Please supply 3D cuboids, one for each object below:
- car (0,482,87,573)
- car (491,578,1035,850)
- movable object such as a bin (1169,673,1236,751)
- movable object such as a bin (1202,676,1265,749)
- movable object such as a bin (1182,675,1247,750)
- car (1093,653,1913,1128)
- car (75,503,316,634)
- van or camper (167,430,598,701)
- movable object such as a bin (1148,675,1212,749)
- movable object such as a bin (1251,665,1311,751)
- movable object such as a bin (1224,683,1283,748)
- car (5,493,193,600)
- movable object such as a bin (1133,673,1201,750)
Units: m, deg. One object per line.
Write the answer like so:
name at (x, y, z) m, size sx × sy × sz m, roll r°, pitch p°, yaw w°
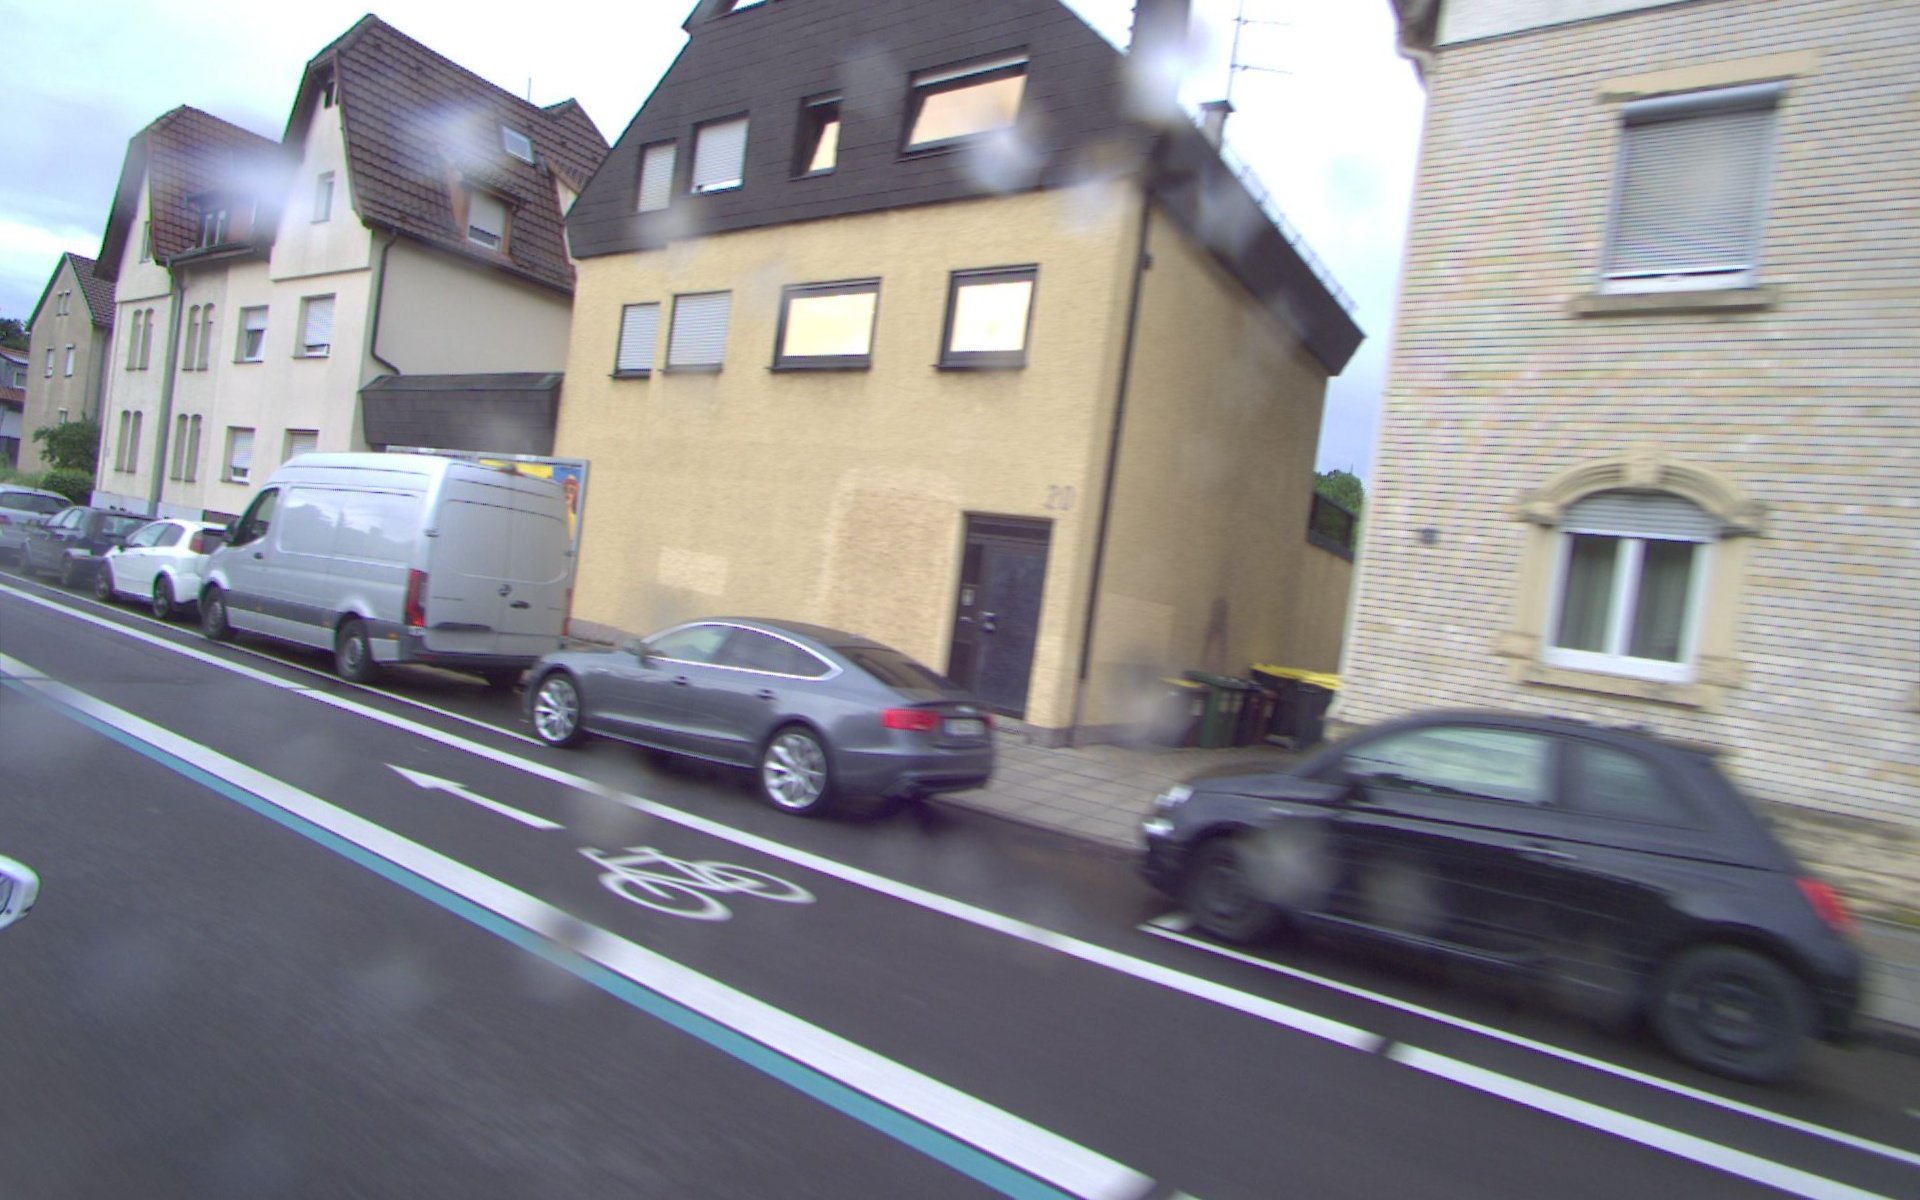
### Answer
car at (-20.388, -1.688, 21.333) m, size 4.037 × 1.633 × 1.649 m, roll 8°, pitch -1°, yaw 33°
car at (-1.814, 0.852, 8.827) m, size 4.475 × 1.422 × 1.793 m, roll 8°, pitch -2°, yaw 30°
movable object such as a bin at (3.589, 1.650, 14.889) m, size 0.715 × 1.034 × 0.579 m, roll 7°, pitch -1°, yaw 32°
movable object such as a bin at (4.325, 1.775, 15.919) m, size 0.715 × 1.034 × 0.579 m, roll 7°, pitch -1°, yaw 32°
movable object such as a bin at (3.913, 1.720, 15.453) m, size 0.715 × 1.034 × 0.579 m, roll 7°, pitch -1°, yaw 32°
car at (2.738, 1.329, 5.702) m, size 3.453 × 1.515 × 1.569 m, roll 7°, pitch -2°, yaw 30°
car at (-12.183, -0.525, 15.966) m, size 3.975 × 1.463 × 1.711 m, roll 8°, pitch -1°, yaw 34°
van or camper at (-7.478, -0.544, 12.730) m, size 5.944 × 2.593 × 1.997 m, roll 8°, pitch -1°, yaw 33°
movable object such as a bin at (3.176, 1.614, 14.513) m, size 0.685 × 0.956 × 0.461 m, roll 7°, pitch -1°, yaw 32°
movable object such as a bin at (5.472, 1.835, 17.146) m, size 0.715 × 1.342 × 0.579 m, roll 7°, pitch -1°, yaw 32°
movable object such as a bin at (4.894, 1.929, 16.785) m, size 0.715 × 0.963 × 0.579 m, roll 7°, pitch -2°, yaw 32°
car at (-15.967, -1.016, 18.618) m, size 3.648 × 1.465 × 1.628 m, roll 7°, pitch -2°, yaw 34°
movable object such as a bin at (2.905, 1.558, 14.102) m, size 0.715 × 0.956 × 0.475 m, roll 7°, pitch -1°, yaw 32°
